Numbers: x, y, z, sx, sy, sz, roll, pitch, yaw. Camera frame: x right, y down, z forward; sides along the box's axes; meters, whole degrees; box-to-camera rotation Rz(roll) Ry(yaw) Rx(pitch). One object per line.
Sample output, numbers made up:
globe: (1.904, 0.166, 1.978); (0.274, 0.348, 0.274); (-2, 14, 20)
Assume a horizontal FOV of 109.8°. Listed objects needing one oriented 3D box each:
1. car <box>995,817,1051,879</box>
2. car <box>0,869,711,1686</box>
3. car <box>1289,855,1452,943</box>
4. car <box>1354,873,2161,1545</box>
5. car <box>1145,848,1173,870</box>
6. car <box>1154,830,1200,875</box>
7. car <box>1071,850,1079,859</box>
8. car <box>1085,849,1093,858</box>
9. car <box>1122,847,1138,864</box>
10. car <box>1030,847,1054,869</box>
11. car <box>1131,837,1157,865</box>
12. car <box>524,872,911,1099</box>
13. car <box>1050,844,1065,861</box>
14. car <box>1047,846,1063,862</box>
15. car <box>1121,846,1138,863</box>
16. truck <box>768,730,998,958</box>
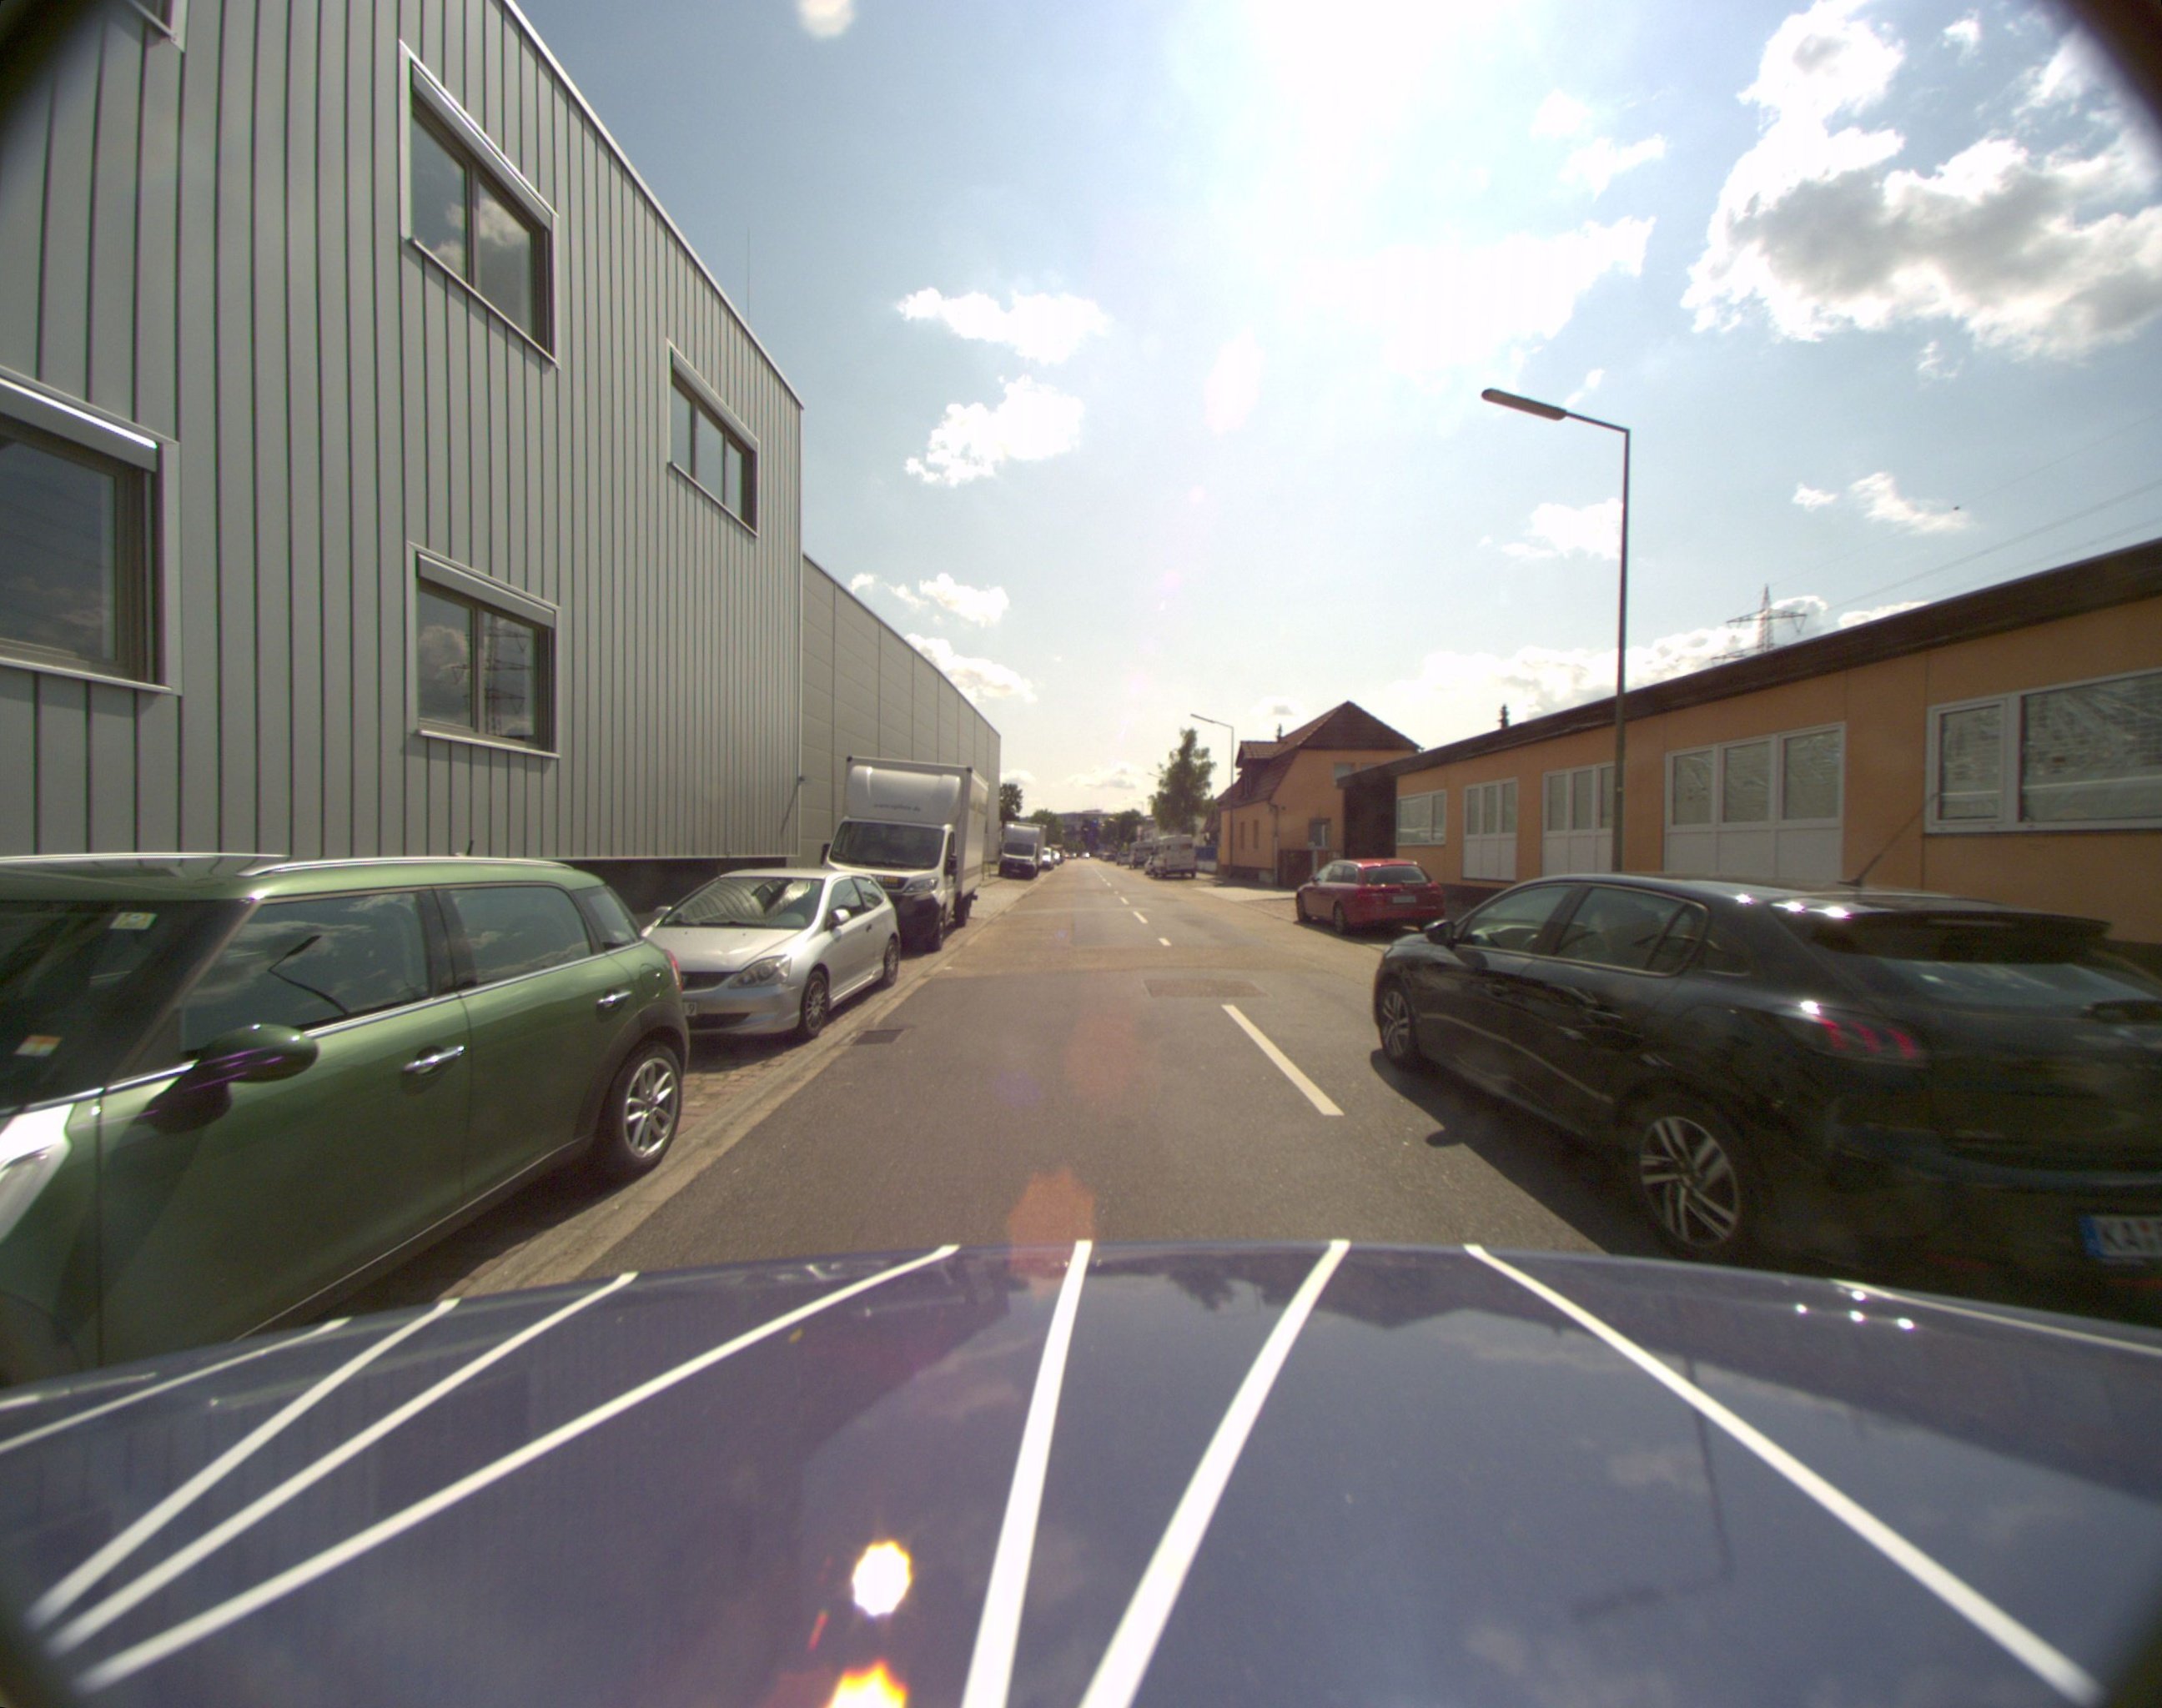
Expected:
car: (-3.387, -0.375, 45.994); (2.418, 3.270, 6.897); (6, 1, 0)
car: (-2.979, 0.891, 2.199); (1.714, 1.502, 4.114); (-2, 1, 0)
car: (5.813, 0.817, 15.919); (1.714, 1.459, 4.629); (-2, 1, 1)
car: (2.980, 0.905, 3.784); (1.739, 1.434, 3.999); (2, 1, 0)
car: (5.605, 0.359, 54.877); (1.658, 1.483, 3.716); (-2, 1, 0)
car: (5.894, -0.124, 47.400); (2.079, 2.527, 5.823); (-2, 1, 0)
car: (-1.387, 0.045, 184.572); (1.828, 2.082, 4.109); (-2, 1, 0)
car: (1.988, -0.134, 188.325); (1.828, 2.111, 4.109); (-2, 1, 0)
car: (5.775, 0.180, 89.758); (1.658, 1.860, 3.926); (-2, 1, 0)
car: (-3.197, 0.296, 63.061); (1.658, 1.765, 3.926); (-2, 1, 0)
car: (6.113, -0.354, 74.273); (1.998, 2.556, 5.823); (-2, 1, 0)
car: (-3.079, 0.996, 7.569); (1.714, 1.425, 4.256); (-2, 1, 0)
car: (-3.309, -0.266, 108.436); (1.828, 2.366, 4.109); (-2, 1, 0)
car: (-3.060, -0.048, 89.975); (1.658, 1.765, 3.926); (-2, 1, 0)
car: (6.167, 0.019, 97.041); (1.998, 2.002, 3.999); (-2, 1, 0)
truck: (-3.293, -0.188, 15.029); (2.607, 3.207, 8.075); (-2, 1, -2)
